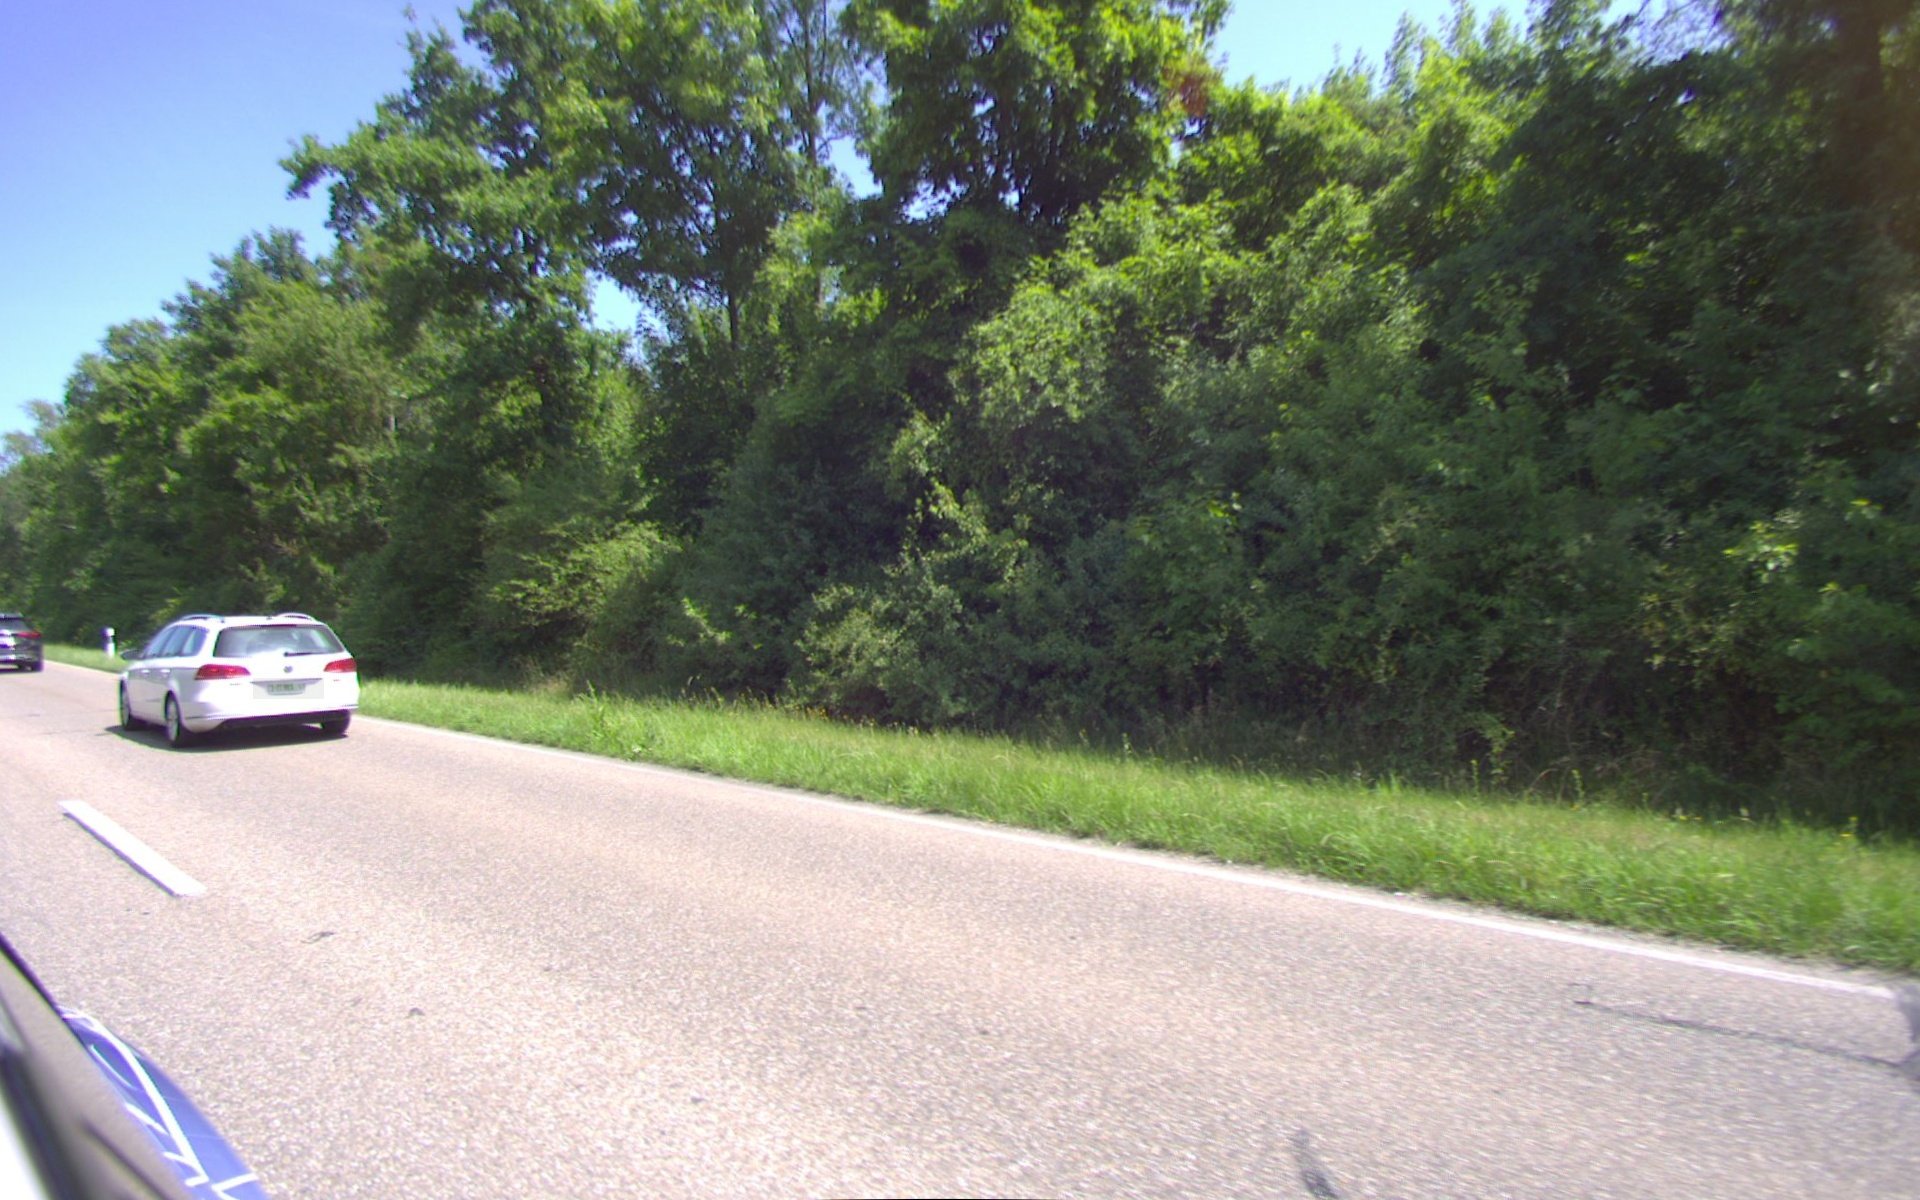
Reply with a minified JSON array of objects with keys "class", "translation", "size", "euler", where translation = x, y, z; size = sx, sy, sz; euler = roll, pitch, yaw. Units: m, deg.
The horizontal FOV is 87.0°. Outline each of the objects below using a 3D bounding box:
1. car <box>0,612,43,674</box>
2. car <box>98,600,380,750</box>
[{"class":"car","translation":[-26.908,1.174,27.938],"size":[4.198,1.637,1.846],"euler":[-1,-1,41]},{"class":"car","translation":[-9.143,0.814,12.668],"size":[4.655,1.548,1.820],"euler":[-1,-1,41]}]
